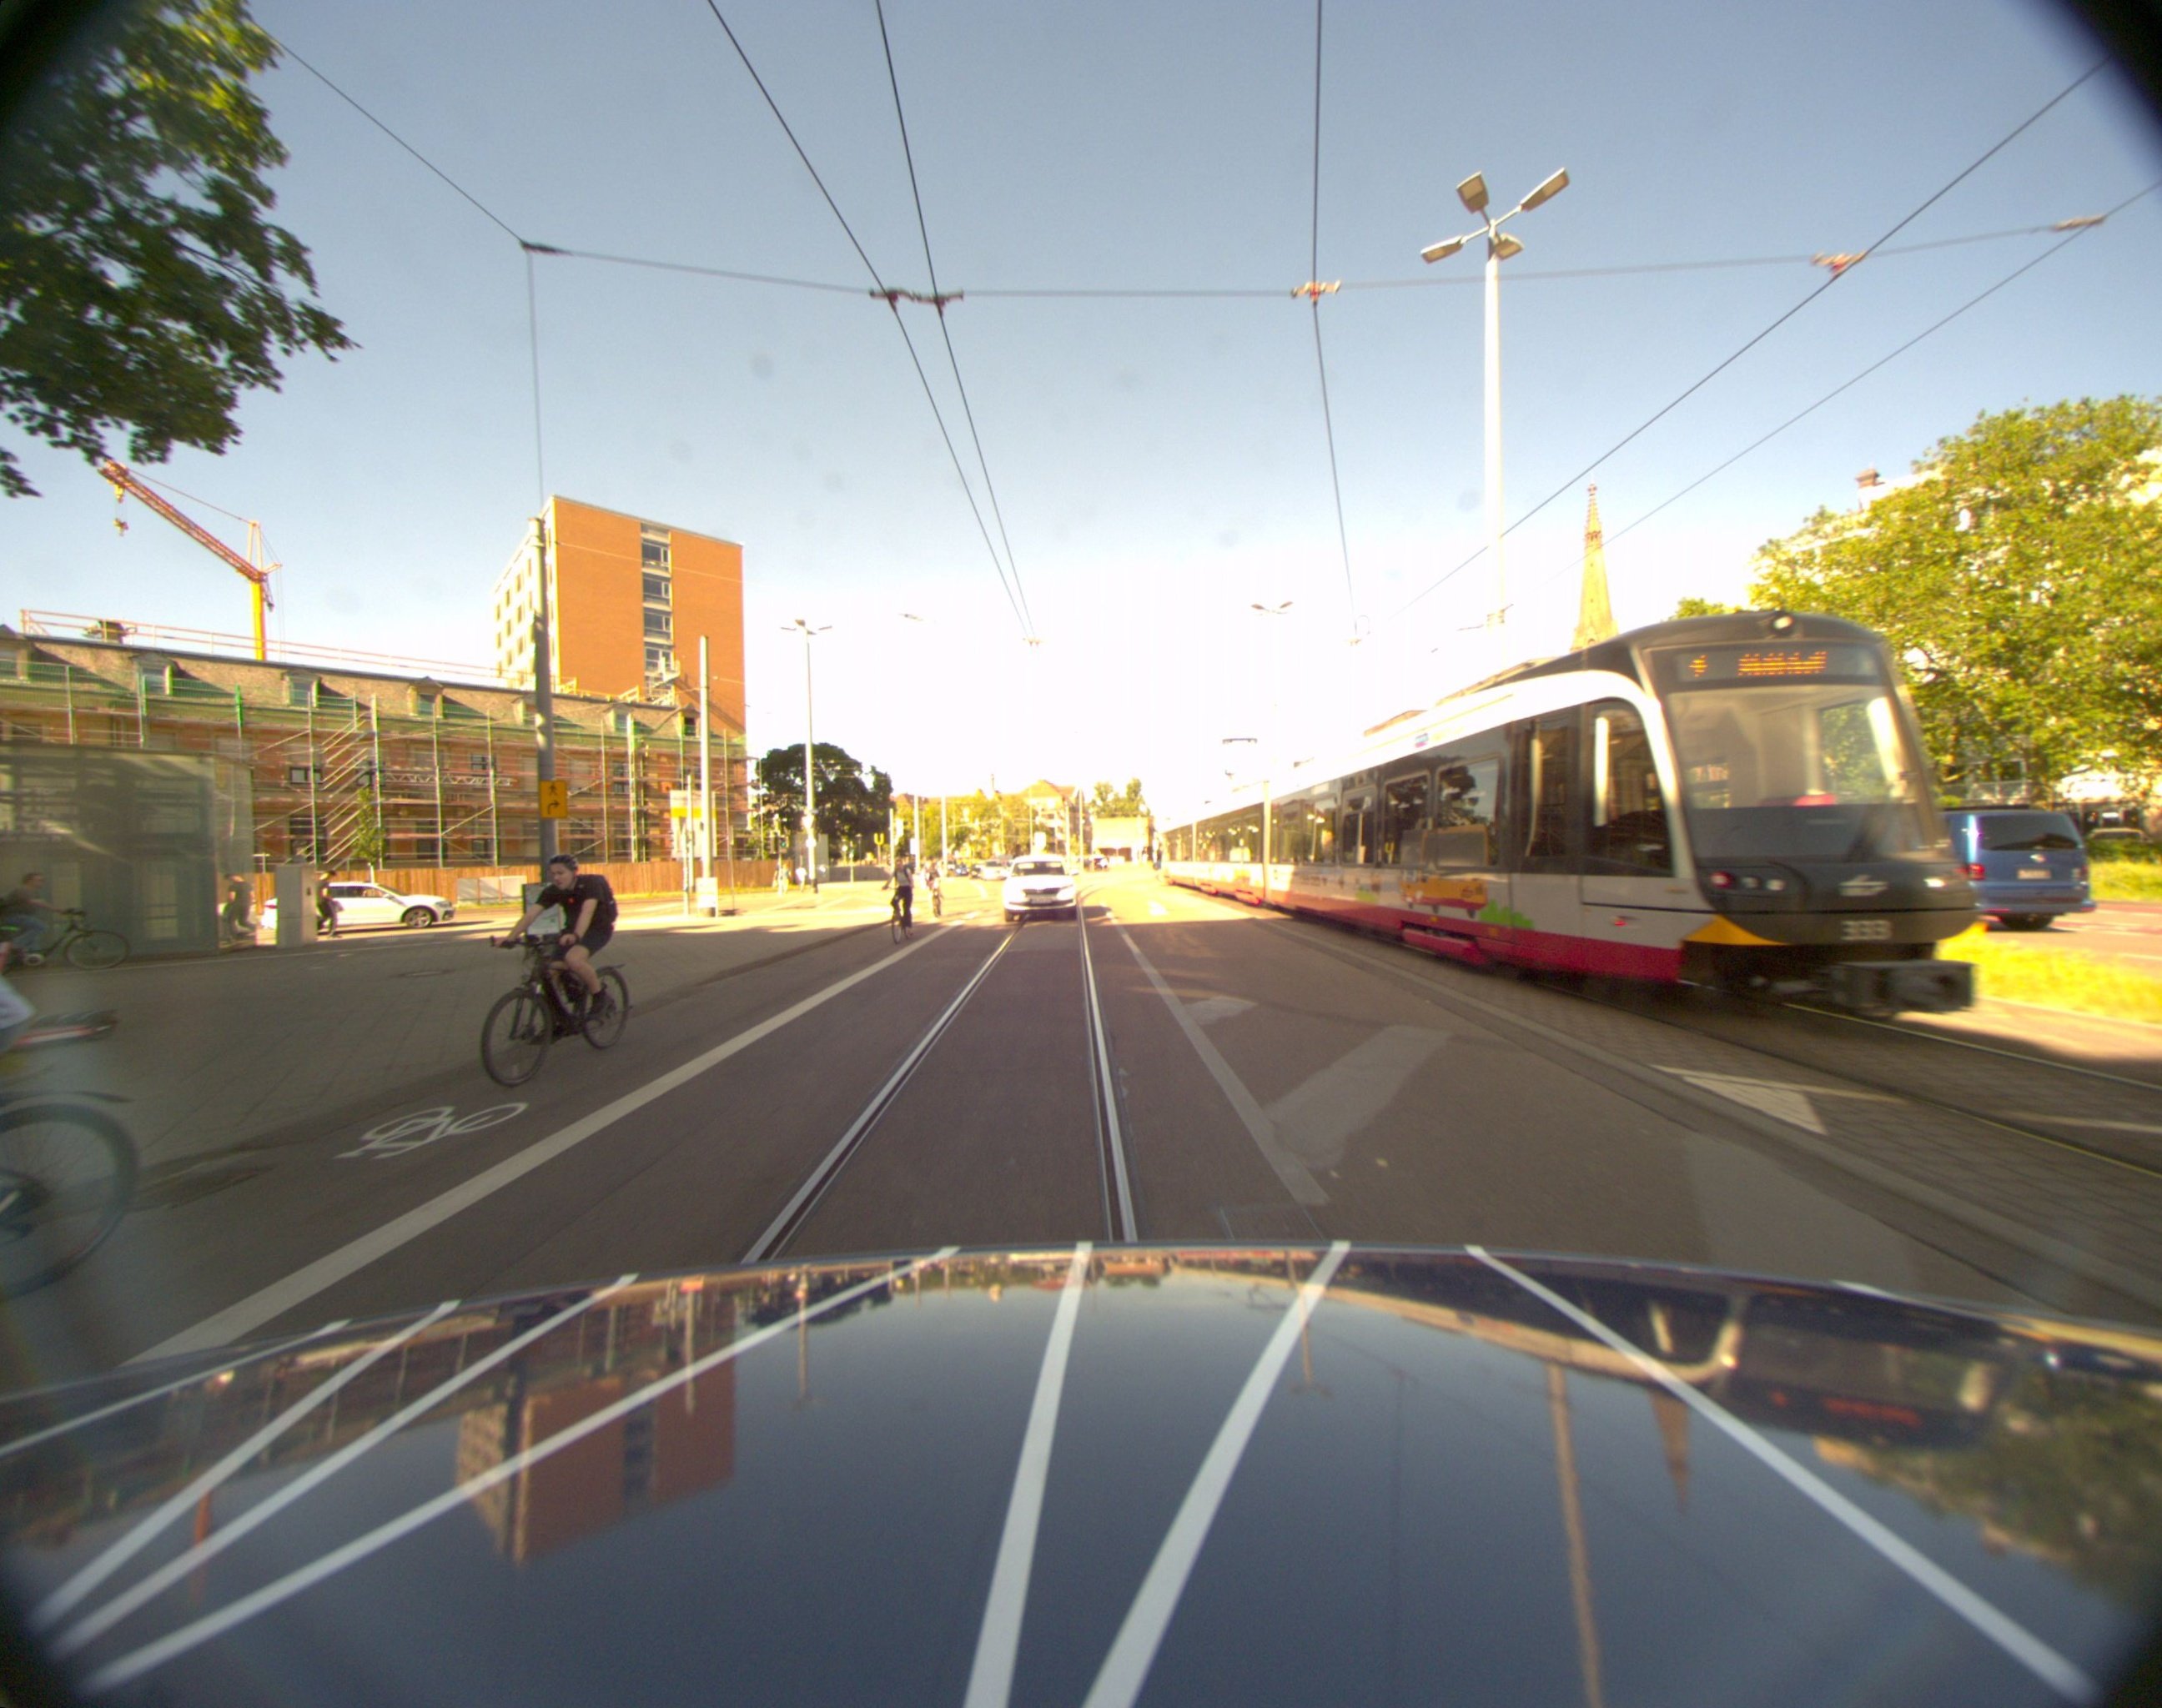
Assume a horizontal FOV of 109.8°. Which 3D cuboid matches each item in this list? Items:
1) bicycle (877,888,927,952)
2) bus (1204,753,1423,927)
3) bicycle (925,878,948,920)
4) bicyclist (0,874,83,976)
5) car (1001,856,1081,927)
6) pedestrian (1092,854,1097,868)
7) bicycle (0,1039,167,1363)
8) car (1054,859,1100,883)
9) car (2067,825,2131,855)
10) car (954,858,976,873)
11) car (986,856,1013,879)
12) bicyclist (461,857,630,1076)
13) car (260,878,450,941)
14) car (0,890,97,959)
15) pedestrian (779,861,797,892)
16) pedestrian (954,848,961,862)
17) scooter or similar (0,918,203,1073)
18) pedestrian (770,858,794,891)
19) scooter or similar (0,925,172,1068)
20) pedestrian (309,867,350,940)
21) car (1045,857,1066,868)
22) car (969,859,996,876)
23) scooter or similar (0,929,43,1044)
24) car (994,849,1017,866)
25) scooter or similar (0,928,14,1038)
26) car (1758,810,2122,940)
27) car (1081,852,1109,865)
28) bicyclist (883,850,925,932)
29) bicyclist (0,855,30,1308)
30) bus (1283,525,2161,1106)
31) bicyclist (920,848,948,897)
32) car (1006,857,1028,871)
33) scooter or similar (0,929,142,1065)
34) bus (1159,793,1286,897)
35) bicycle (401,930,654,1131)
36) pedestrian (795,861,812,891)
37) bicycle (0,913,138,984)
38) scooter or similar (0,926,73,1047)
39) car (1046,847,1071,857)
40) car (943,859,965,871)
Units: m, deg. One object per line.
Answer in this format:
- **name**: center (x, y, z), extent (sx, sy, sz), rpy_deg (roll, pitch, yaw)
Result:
- **bicycle**: center (-3.602, 1.296, 15.432), extent (0.533, 1.111, 1.933), rpy_deg (-3, 0, -1)
- **bus**: center (5.784, -0.300, 21.416), extent (2.848, 3.568, 10.725), rpy_deg (-2, 0, 0)
- **bicycle**: center (-4.282, 1.314, 22.603), extent (0.533, 1.152, 1.864), rpy_deg (-3, 0, -9)
- **bicyclist**: center (-18.016, 1.203, 12.952), extent (1.048, 1.651, 0.453), rpy_deg (-4, 2, -40)
- **car**: center (-1.015, 0.920, 20.587), extent (1.869, 1.635, 4.396), rpy_deg (-2, 0, -1)
- **pedestrian**: center (1.477, 0.803, 84.932), extent (0.372, 1.547, 0.644), rpy_deg (-3, 1, -6)
- **bicycle**: center (-4.157, 1.337, 2.321), extent (0.387, 1.062, 1.933), rpy_deg (-3, 0, -2)
- **car**: center (-0.291, 1.089, 50.694), extent (1.923, 1.450, 3.860), rpy_deg (-4, 1, -18)
- **car**: center (56.157, -0.789, 41.957), extent (4.007, 1.490, 1.995), rpy_deg (-2, 0, -38)
- **car**: center (-13.570, 1.322, 89.011), extent (1.888, 1.557, 4.006), rpy_deg (-4, 1, -17)
- **car**: center (-6.336, 1.018, 58.956), extent (1.887, 1.620, 4.009), rpy_deg (-3, 1, -8)
- **bicyclist**: center (-4.319, 0.851, 6.211), extent (0.625, 1.604, 0.980), rpy_deg (-3, 1, -5)
- **car**: center (-23.439, 1.726, 24.798), extent (4.259, 1.612, 1.913), rpy_deg (-3, 2, -38)
- **car**: center (-29.649, 1.944, 19.947), extent (4.259, 1.677, 1.913), rpy_deg (-3, 2, -38)
- **pedestrian**: center (-17.014, 1.308, 44.168), extent (0.661, 1.747, 0.823), rpy_deg (-3, 1, -4)
- **pedestrian**: center (-21.746, 0.148, 133.871), extent (0.876, 2.421, 0.888), rpy_deg (-4, 1, -21)
- **scooter or similar**: center (-9.606, 1.310, 7.295), extent (0.271, 1.212, 1.703), rpy_deg (-3, 1, 1)
- **pedestrian**: center (-18.006, 1.244, 45.803), extent (0.933, 1.918, 1.048), rpy_deg (-3, 1, -4)
- **scooter or similar**: center (-9.901, 1.353, 7.265), extent (0.271, 1.150, 1.703), rpy_deg (-3, 1, 1)
- **pedestrian**: center (-19.898, 1.299, 20.121), extent (0.651, 1.838, 0.545), rpy_deg (-4, 2, -42)
- **car**: center (-3.789, 1.223, 110.040), extent (1.853, 1.408, 4.474), rpy_deg (-2, 0, -18)
- **car**: center (-9.710, 1.284, 74.574), extent (1.888, 1.557, 4.006), rpy_deg (-4, 1, -17)
- **scooter or similar**: center (-11.534, 1.422, 7.519), extent (0.271, 1.178, 1.564), rpy_deg (-3, 1, 1)
- **car**: center (-12.868, 0.557, 129.500), extent (2.246, 2.665, 5.296), rpy_deg (-4, 1, -24)
- **scooter or similar**: center (-11.867, 1.418, 7.526), extent (0.271, 1.189, 1.564), rpy_deg (-3, 1, 1)
- **car**: center (14.708, 0.292, 13.455), extent (1.807, 1.922, 4.165), rpy_deg (-1, 1, 2)
- **car**: center (1.755, 0.544, 94.783), extent (2.046, 1.568, 4.622), rpy_deg (-2, 1, -17)
- **bicyclist**: center (-3.645, 0.746, 15.697), extent (0.551, 1.604, 0.953), rpy_deg (-3, 1, -1)
- **bicyclist**: center (-4.183, 0.810, 2.260), extent (0.784, 1.583, 0.885), rpy_deg (-3, 0, -3)
- **bus**: center (5.667, -0.248, 10.438), extent (2.848, 3.568, 11.270), rpy_deg (-2, 0, 1)
- **bicyclist**: center (-4.384, 0.538, 22.726), extent (0.676, 1.413, 1.035), rpy_deg (-3, 1, -8)
- **car**: center (-7.671, 1.188, 90.272), extent (1.888, 1.450, 4.007), rpy_deg (-4, 1, -14)
- **scooter or similar**: center (-10.197, 1.389, 7.242), extent (0.271, 1.156, 1.703), rpy_deg (-3, 1, 1)
- **bus**: center (5.698, -0.343, 33.593), extent (2.848, 3.568, 13.494), rpy_deg (-2, 0, -1)
- **bicycle**: center (-4.262, 1.289, 6.077), extent (0.533, 1.111, 1.933), rpy_deg (-2, 1, 1)
- **pedestrian**: center (-16.423, 1.299, 45.024), extent (0.661, 1.667, 0.823), rpy_deg (-3, 1, -4)
- **bicycle**: center (-17.945, 1.631, 12.994), extent (2.199, 1.052, 0.487), rpy_deg (-2, 0, -40)
- **scooter or similar**: center (-11.217, 1.397, 7.528), extent (0.271, 1.178, 1.564), rpy_deg (-3, 1, 1)
- **car**: center (-4.744, -0.475, 163.435), extent (2.403, 1.793, 5.247), rpy_deg (-2, 1, 41)
- **car**: center (-17.237, 1.520, 102.961), extent (1.924, 1.450, 4.660), rpy_deg (-4, 1, -22)
